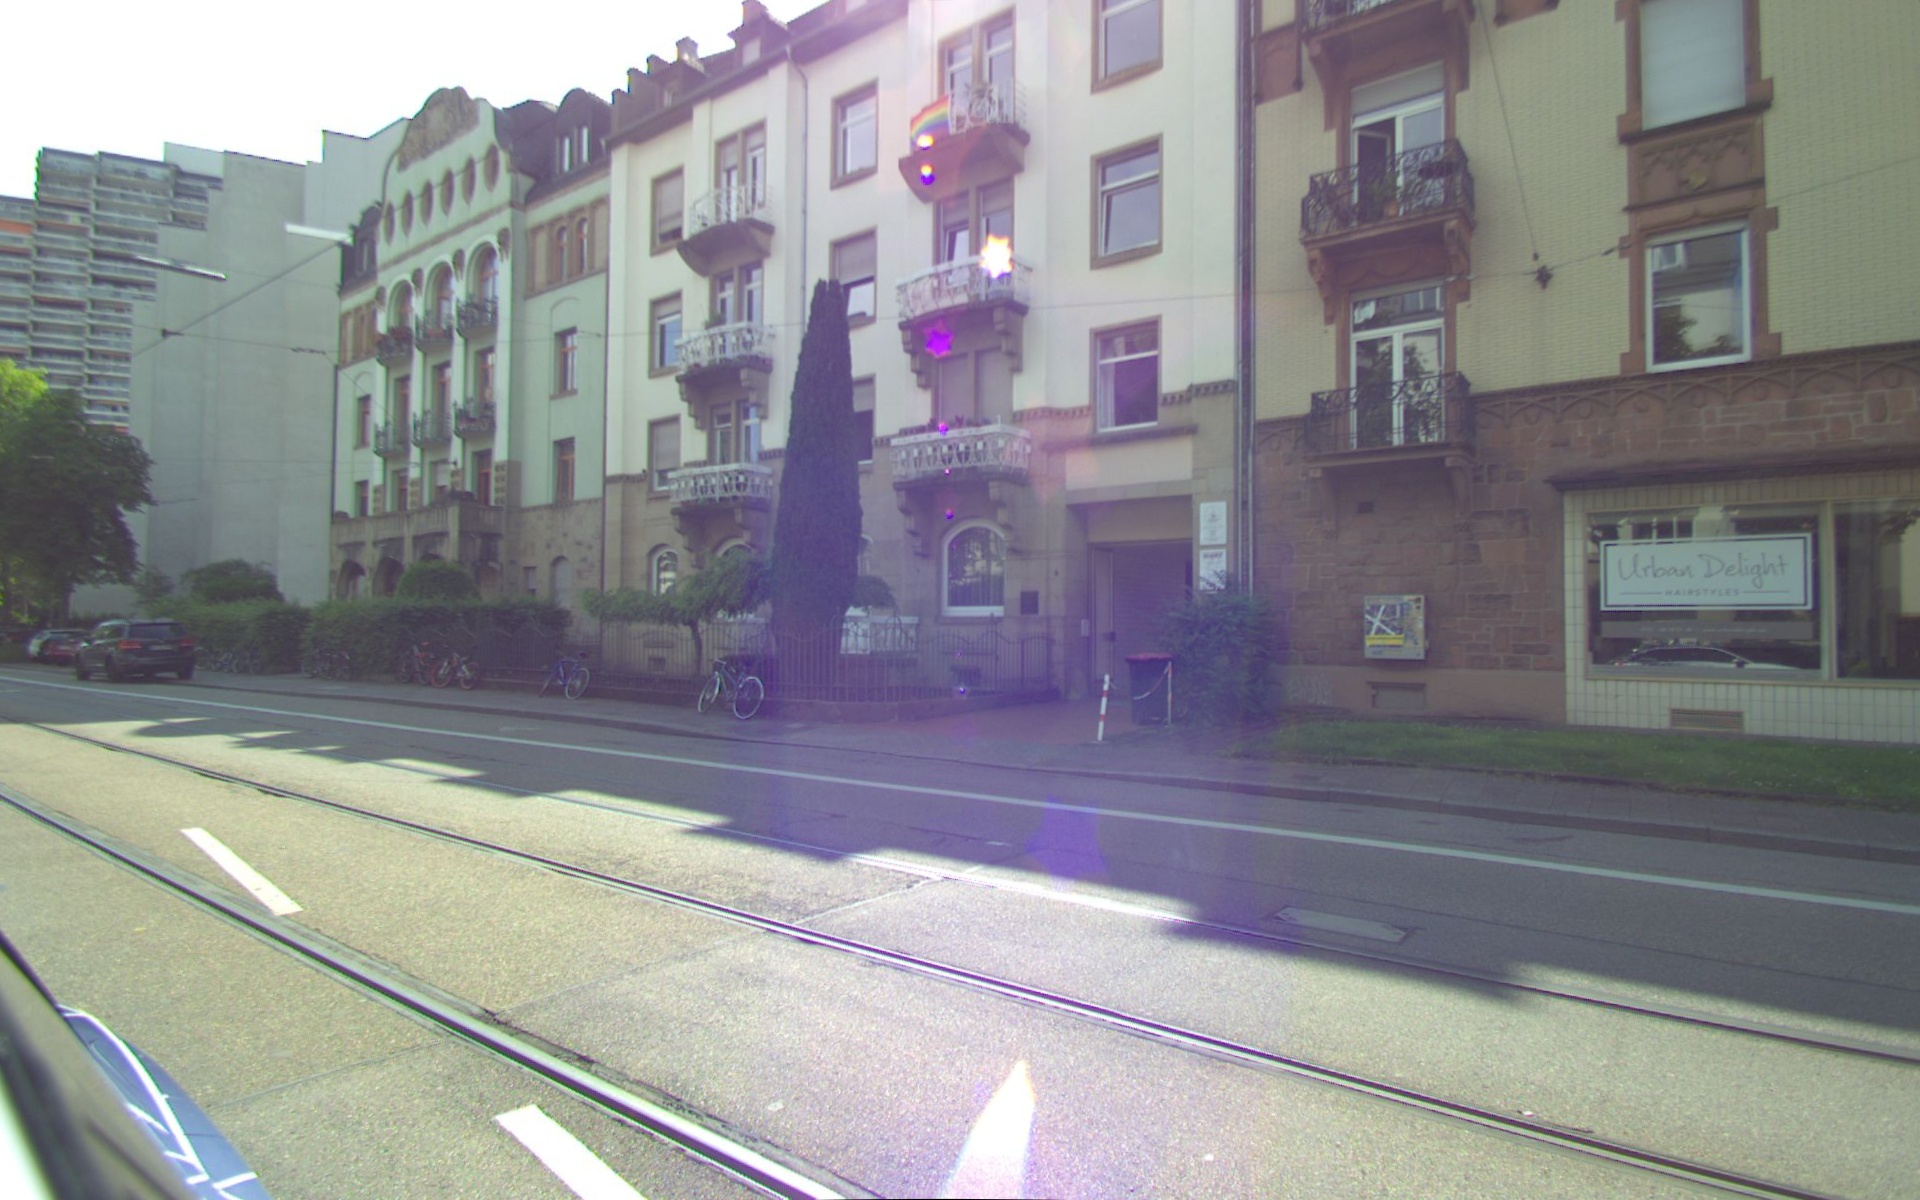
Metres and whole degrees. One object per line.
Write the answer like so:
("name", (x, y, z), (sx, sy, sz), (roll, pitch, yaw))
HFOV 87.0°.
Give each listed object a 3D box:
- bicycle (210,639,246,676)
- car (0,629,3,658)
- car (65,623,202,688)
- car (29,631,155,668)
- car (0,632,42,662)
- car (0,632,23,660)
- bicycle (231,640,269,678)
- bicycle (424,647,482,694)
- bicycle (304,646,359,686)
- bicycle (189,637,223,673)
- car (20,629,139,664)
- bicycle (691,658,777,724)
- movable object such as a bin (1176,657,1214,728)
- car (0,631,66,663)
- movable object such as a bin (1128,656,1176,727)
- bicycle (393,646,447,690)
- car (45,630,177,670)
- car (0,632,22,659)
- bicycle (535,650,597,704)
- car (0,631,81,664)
("bicycle", (-23.282, 1.811, 32.194), (1.785, 1.144, 0.462), (-1, -3, 40))
("car", (-57.743, 2.478, 58.117), (3.939, 1.695, 2.002), (2, -3, -42))
("car", (-23.482, 1.524, 28.715), (4.392, 1.708, 1.899), (-1, -3, 36))
("car", (-36.864, 2.085, 43.039), (3.939, 1.519, 2.002), (2, -3, -42))
("car", (-49.945, 2.412, 52.107), (3.939, 1.519, 2.002), (2, -3, -42))
("car", (-52.642, 2.435, 53.881), (3.939, 1.519, 2.002), (2, -3, -42))
("bicycle", (-21.753, 1.796, 30.996), (1.785, 1.144, 0.462), (-1, -3, 40))
("bicycle", (-11.477, 1.575, 22.889), (1.785, 1.003, 0.462), (-1, -3, 40))
("bicycle", (-16.376, 1.702, 26.350), (1.979, 1.003, 0.597), (-1, -3, 40))
("bicycle", (-24.940, 1.804, 33.479), (1.785, 1.144, 0.462), (-1, -3, 40))
("car", (-39.476, 2.075, 45.445), (3.939, 1.519, 2.002), (2, -3, -42))
("bicycle", (-3.802, 1.485, 16.911), (0.461, 1.003, 1.980), (2, -3, -43))
("movable object such as a bin", (3.535, 1.378, 15.231), (0.531, 1.037, 0.475), (0, -2, 10))
("car", (-47.259, 2.329, 50.465), (3.939, 1.519, 2.002), (2, -3, -42))
("movable object such as a bin", (2.901, 1.371, 15.274), (0.697, 1.037, 0.475), (0, -2, 11))
("bicycle", (-12.897, 1.608, 24.148), (1.785, 1.003, 0.462), (-1, -3, 40))
("car", (-34.174, 2.007, 40.792), (3.939, 1.519, 2.002), (2, -3, -42))
("car", (-54.838, 2.506, 56.178), (3.939, 1.519, 2.002), (2, -3, -42))
("bicycle", (-7.884, 1.509, 20.202), (0.461, 1.003, 1.788), (3, -3, -45))
("car", (-44.797, 2.257, 48.494), (3.939, 1.519, 2.002), (2, -3, -42))
